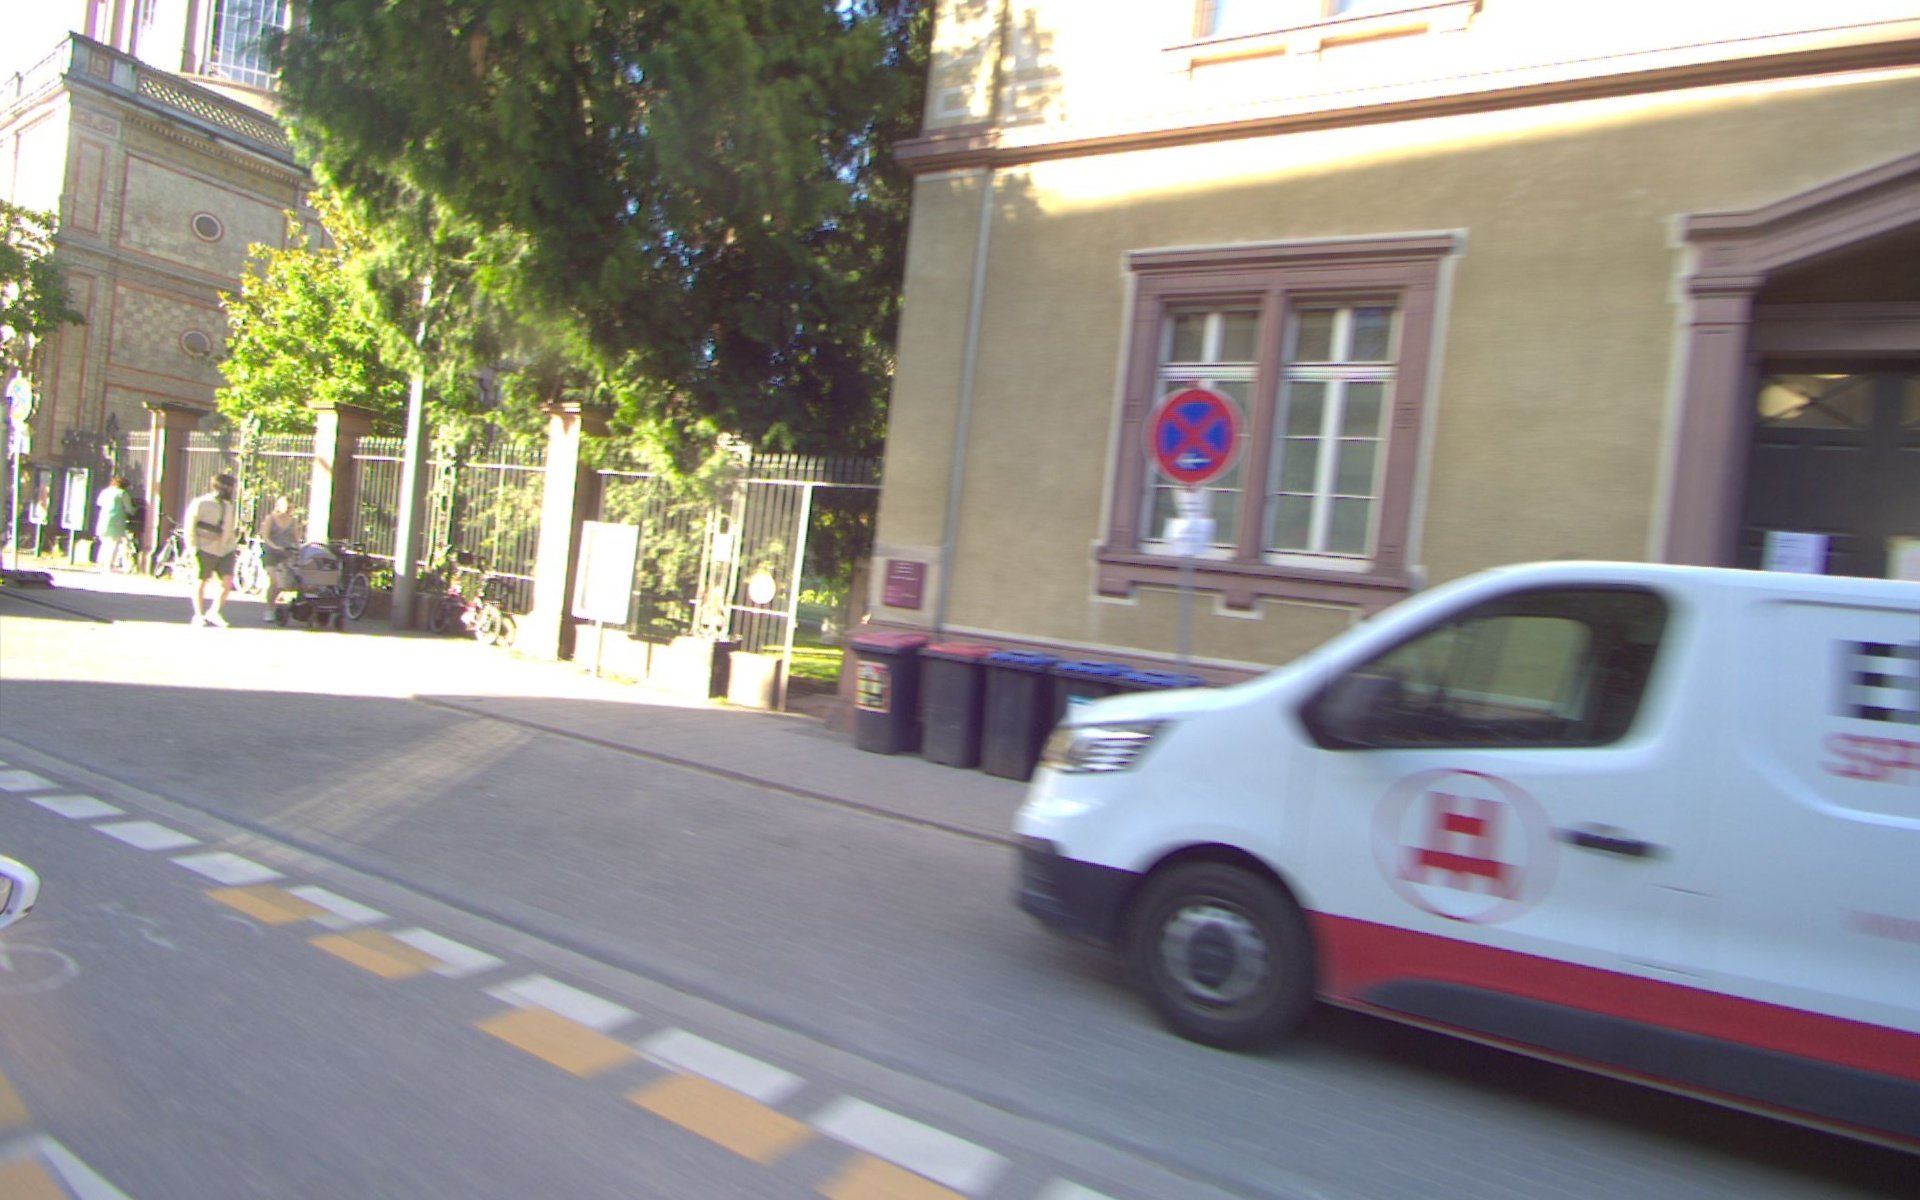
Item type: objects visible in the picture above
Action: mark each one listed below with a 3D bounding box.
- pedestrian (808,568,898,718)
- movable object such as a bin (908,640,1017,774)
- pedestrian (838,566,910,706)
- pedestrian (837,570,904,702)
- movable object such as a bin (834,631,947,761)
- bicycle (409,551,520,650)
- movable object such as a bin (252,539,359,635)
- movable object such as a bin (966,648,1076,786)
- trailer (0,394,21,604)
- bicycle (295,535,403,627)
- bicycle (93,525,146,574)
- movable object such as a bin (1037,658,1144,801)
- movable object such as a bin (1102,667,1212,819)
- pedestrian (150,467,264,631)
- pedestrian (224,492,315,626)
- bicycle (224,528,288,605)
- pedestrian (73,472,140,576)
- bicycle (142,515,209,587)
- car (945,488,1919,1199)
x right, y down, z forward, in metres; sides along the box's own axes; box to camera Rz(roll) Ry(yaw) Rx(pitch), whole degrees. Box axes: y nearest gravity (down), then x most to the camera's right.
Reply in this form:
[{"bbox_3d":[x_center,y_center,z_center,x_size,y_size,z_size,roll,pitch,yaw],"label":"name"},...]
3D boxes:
[{"bbox_3d":[-1.322,0.530,12.482,0.688,1.739,0.641,8,1,21],"label":"pedestrian"},{"bbox_3d":[0.031,0.941,9.106,0.561,1.087,0.793,7,2,30],"label":"movable object such as a bin"},{"bbox_3d":[-1.132,0.474,13.247,0.580,1.752,0.508,7,1,27],"label":"pedestrian"},{"bbox_3d":[-1.248,0.504,14.074,0.580,1.752,0.508,7,2,26],"label":"pedestrian"},{"bbox_3d":[-0.631,0.864,9.343,0.561,1.087,0.869,7,2,30],"label":"movable object such as a bin"},{"bbox_3d":[-6.807,-0.011,13.777,1.796,1.172,0.418,7,3,32],"label":"bicycle"},{"bbox_3d":[-8.642,-0.170,13.282,1.032,1.133,0.712,7,3,27],"label":"movable object such as a bin"},{"bbox_3d":[0.548,1.001,8.838,0.561,1.087,0.793,7,2,30],"label":"movable object such as a bin"},{"bbox_3d":[-14.113,-1.481,12.691,4.416,2.562,2.080,7,3,30],"label":"trailer"},{"bbox_3d":[-8.949,-0.289,14.704,1.895,1.144,0.395,7,1,29],"label":"bicycle"},{"bbox_3d":[-15.995,-0.966,19.144,1.426,0.803,0.264,7,1,30],"label":"bicycle"},{"bbox_3d":[1.113,1.061,8.494,0.526,1.087,0.793,7,2,30],"label":"movable object such as a bin"},{"bbox_3d":[1.600,1.117,8.116,0.553,1.087,0.730,7,2,30],"label":"movable object such as a bin"},{"bbox_3d":[-9.404,-0.625,12.562,0.874,1.919,0.716,7,2,27],"label":"pedestrian"},{"bbox_3d":[-9.392,-0.550,13.691,0.681,1.724,0.683,7,2,28],"label":"pedestrian"},{"bbox_3d":[-11.468,-0.558,16.371,1.507,1.120,0.274,7,3,34],"label":"bicycle"},{"bbox_3d":[-15.641,-1.389,18.436,0.725,1.791,0.639,7,2,32],"label":"pedestrian"},{"bbox_3d":[-13.793,-0.871,17.683,1.653,1.120,0.398,7,3,34],"label":"bicycle"},{"bbox_3d":[2.891,0.870,3.855,5.383,1.969,2.020,6,-1,24],"label":"car"}]
